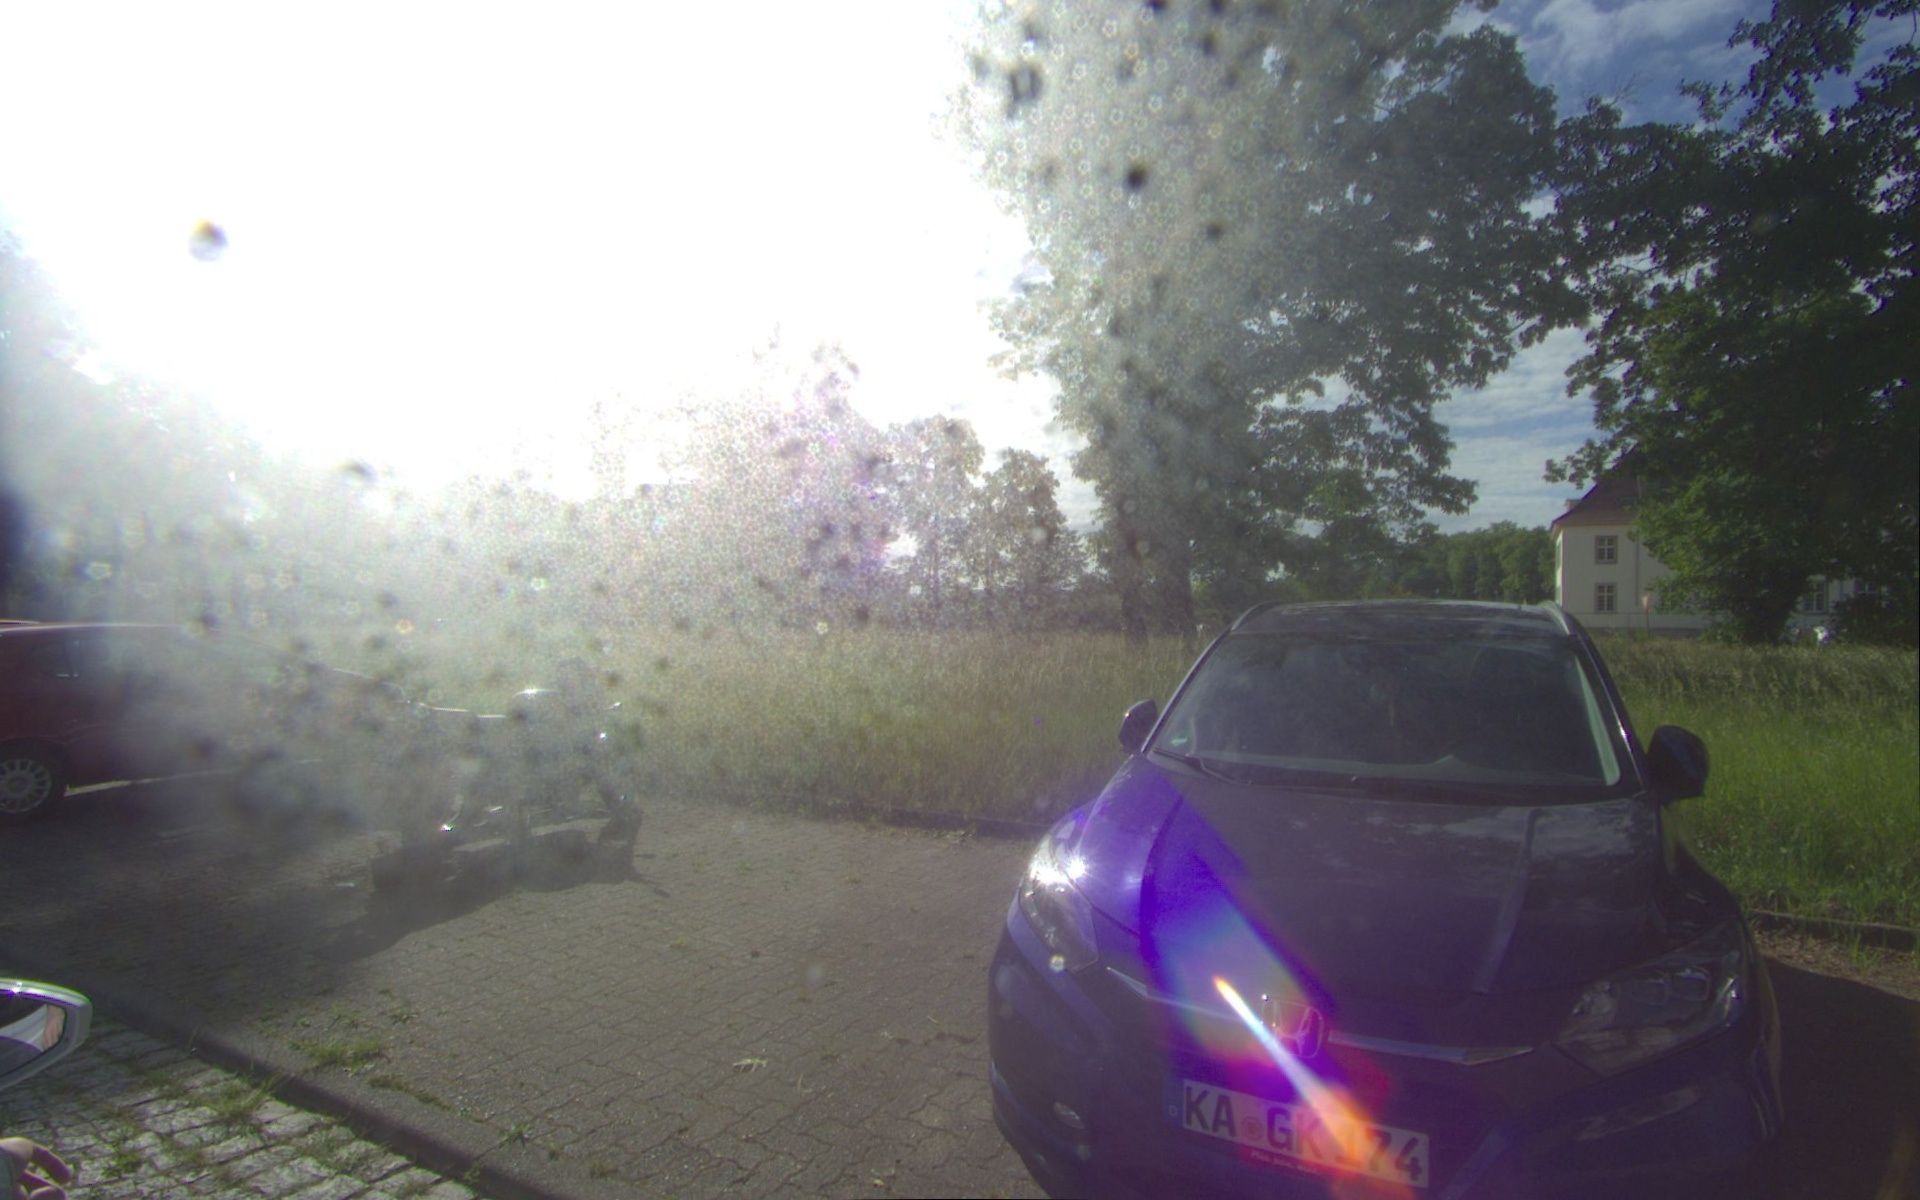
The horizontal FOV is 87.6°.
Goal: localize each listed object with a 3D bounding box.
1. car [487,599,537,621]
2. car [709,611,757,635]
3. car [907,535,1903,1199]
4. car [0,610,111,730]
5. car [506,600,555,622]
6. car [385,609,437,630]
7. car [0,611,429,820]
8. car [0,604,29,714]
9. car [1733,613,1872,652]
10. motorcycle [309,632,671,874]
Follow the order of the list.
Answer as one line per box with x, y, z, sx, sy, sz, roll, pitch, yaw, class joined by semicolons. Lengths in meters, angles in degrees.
-43.271;0.991;96.779;1.970;2.040;3.983;0;-1;29;car
-20.081;2.040;88.748;1.970;2.040;3.983;0;-1;29;car
1.641;0.754;3.723;1.725;1.611;4.173;0;-1;29;car
-13.463;0.888;12.733;1.620;1.550;3.760;0;-1;28;car
-40.821;1.091;95.229;1.970;2.040;3.983;0;-1;29;car
-53.365;1.912;97.350;1.970;2.040;3.983;0;-1;29;car
-7.015;0.860;8.900;1.620;1.498;3.824;0;0;28;car
-15.835;0.845;13.894;1.744;1.643;3.933;0;-1;28;car
49.898;1.966;59.428;2.348;2.199;5.970;1;-2;-37;car
-3.119;0.920;6.962;0.715;1.338;2.297;0;0;29;motorcycle
